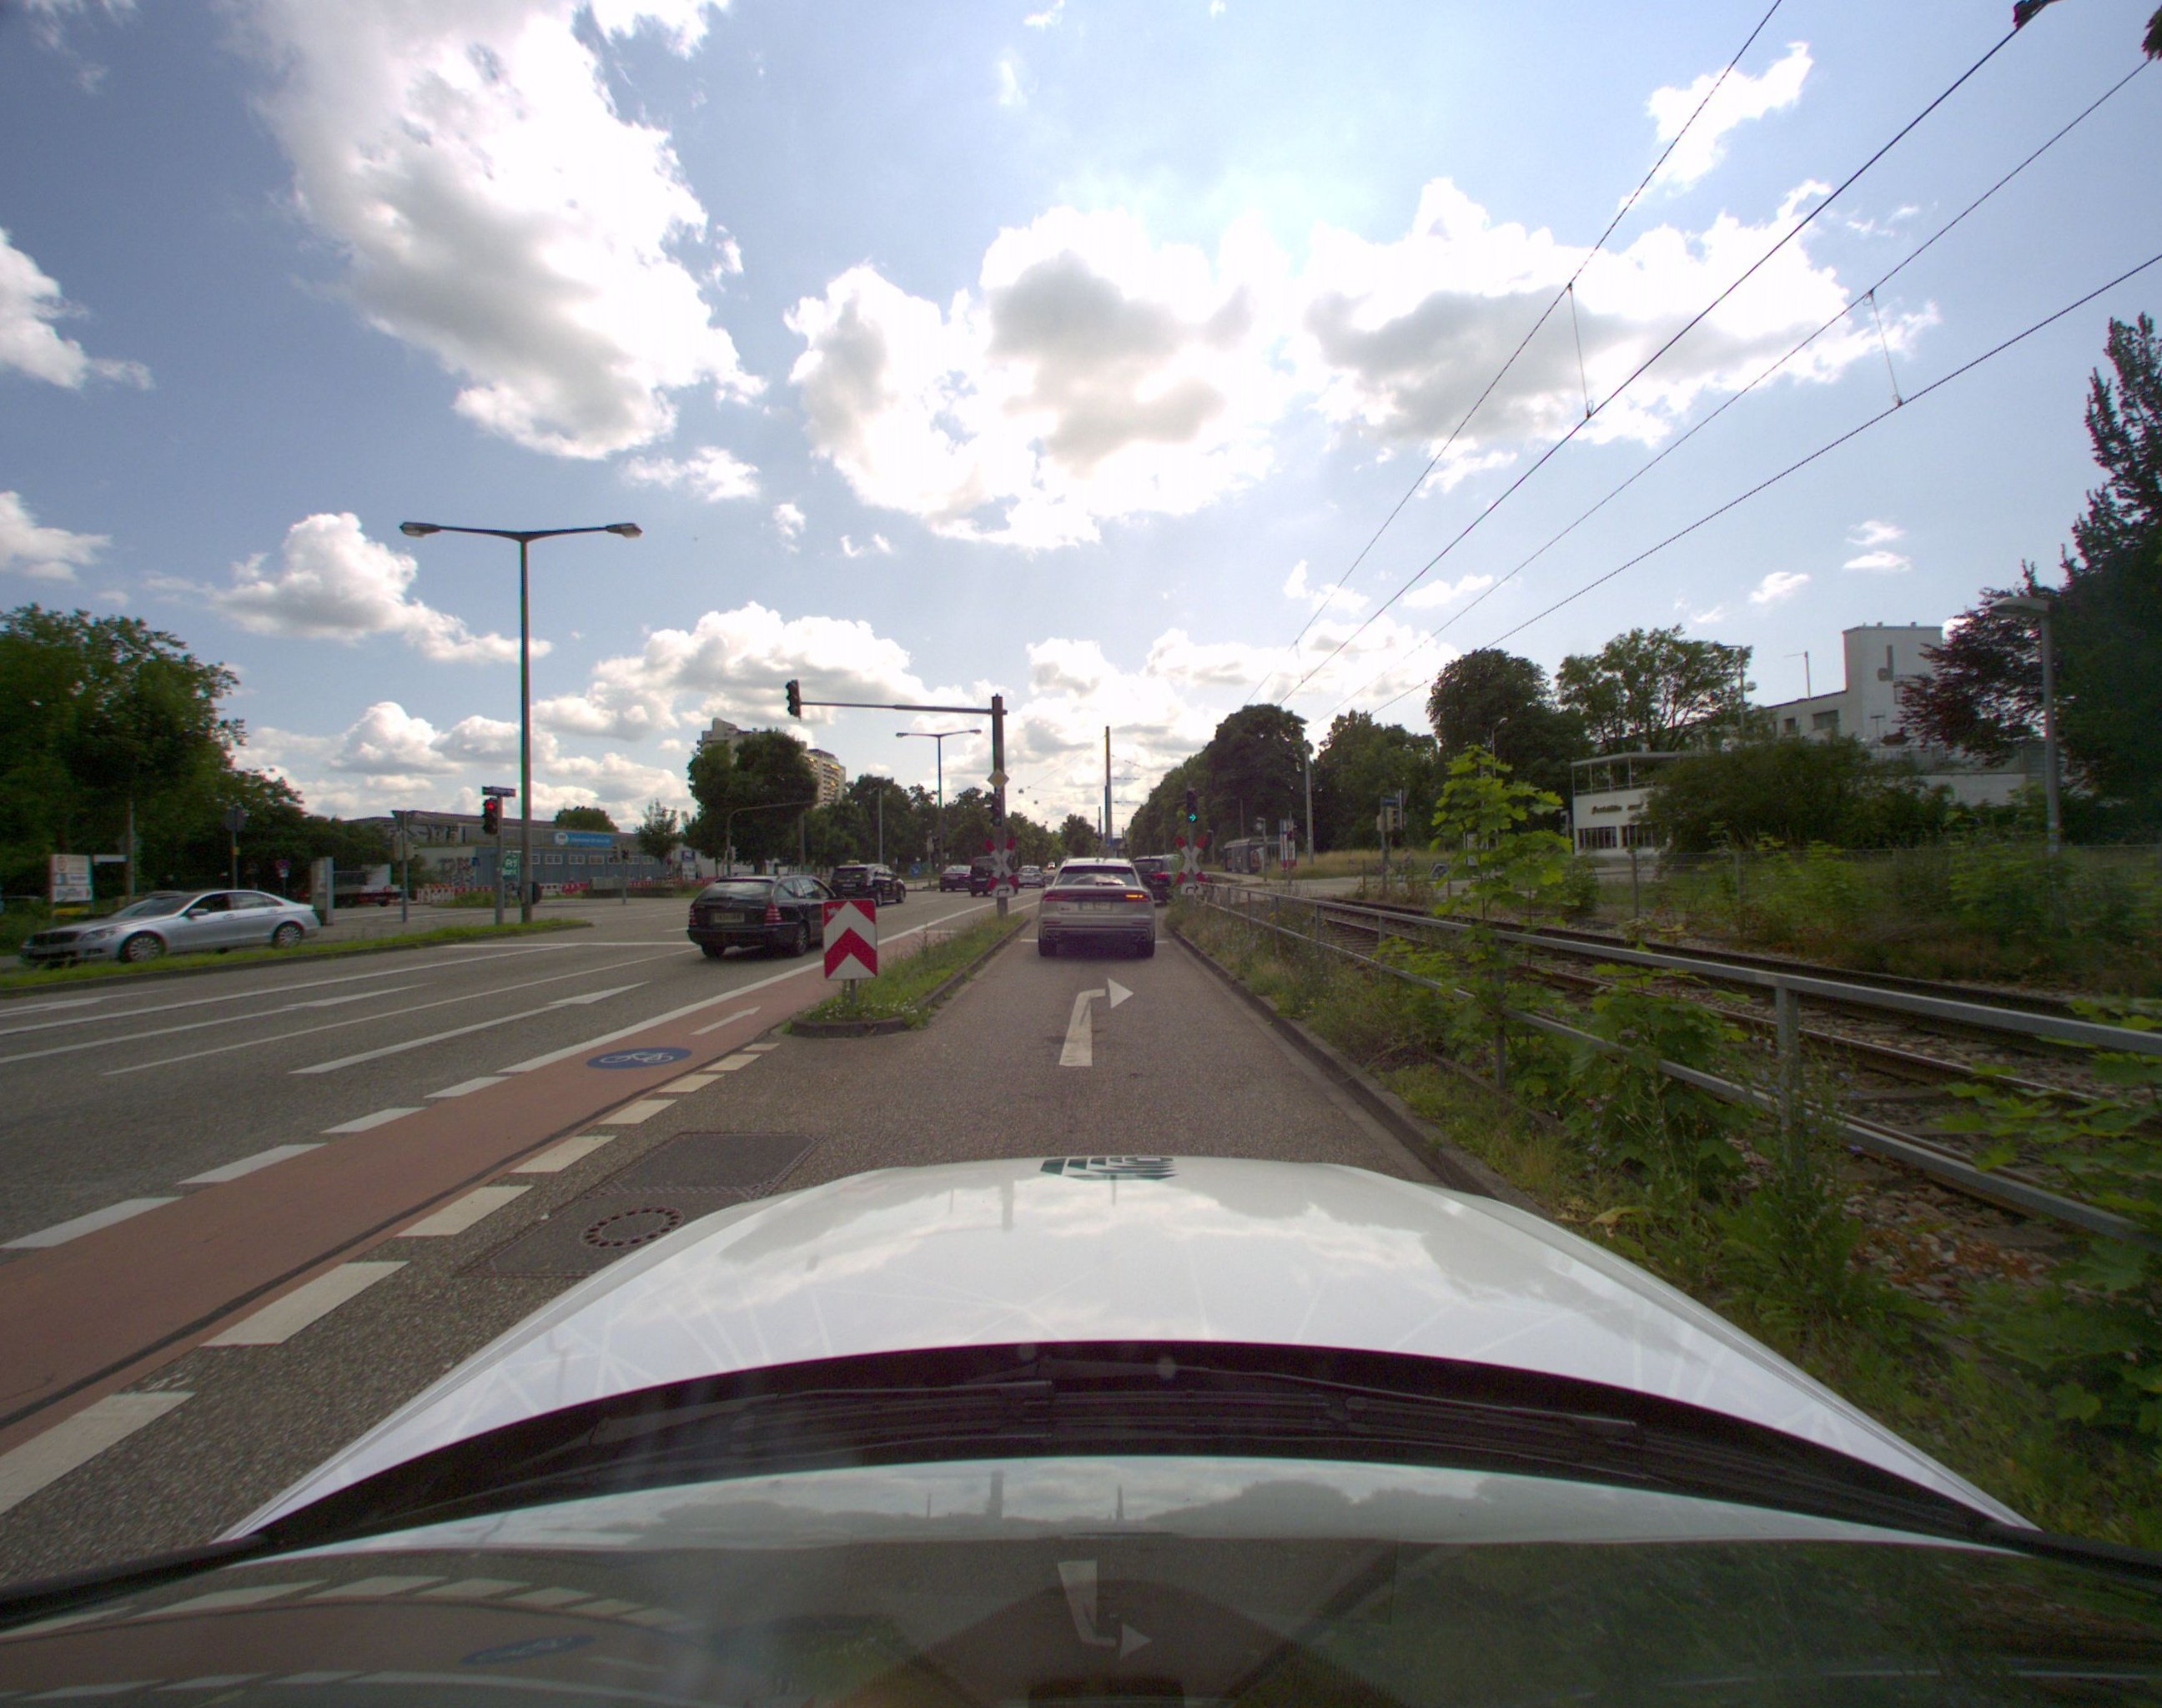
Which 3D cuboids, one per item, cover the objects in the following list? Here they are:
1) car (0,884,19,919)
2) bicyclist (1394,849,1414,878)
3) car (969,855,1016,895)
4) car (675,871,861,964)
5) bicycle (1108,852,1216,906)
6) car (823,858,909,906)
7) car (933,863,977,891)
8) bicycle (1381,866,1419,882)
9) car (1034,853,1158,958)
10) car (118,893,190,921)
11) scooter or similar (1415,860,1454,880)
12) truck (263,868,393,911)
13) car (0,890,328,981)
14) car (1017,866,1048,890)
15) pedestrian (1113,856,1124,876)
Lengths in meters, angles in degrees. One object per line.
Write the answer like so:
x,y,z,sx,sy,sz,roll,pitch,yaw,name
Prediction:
-58.185,2.506,42.719,3.578,1.793,1.946,-1,-1,19,car
16.622,0.495,41.929,0.835,1.475,0.456,-2,-1,3,bicyclist
-4.163,0.984,38.708,1.754,1.777,3.908,0,-1,0,car
-5.593,1.061,15.234,1.749,1.466,4.432,0,-1,0,car
2.861,0.805,27.930,1.974,1.675,4.235,-2,-1,31,bicycle
-7.954,1.020,30.503,1.778,1.668,4.344,-1,-1,4,car
-7.108,1.277,46.287,1.858,1.505,3.998,0,-1,-1,car
16.387,1.023,41.850,1.714,0.765,0.556,-1,-1,3,bicycle
0.328,0.867,15.425,1.974,1.684,4.576,-1,-1,2,car
-64.720,3.692,56.864,3.957,1.786,1.718,-2,-1,15,car
18.058,0.811,41.662,1.567,0.979,0.963,-2,-1,4,scooter or similar
-47.193,2.225,51.089,6.906,2.439,3.054,-2,-1,19,truck
-18.730,1.572,16.993,1.794,1.432,4.496,-2,-1,0,car
-3.268,1.586,55.226,1.779,1.525,4.301,0,-1,1,car
2.897,0.911,62.656,0.653,1.514,0.716,-2,-1,-7,pedestrian
